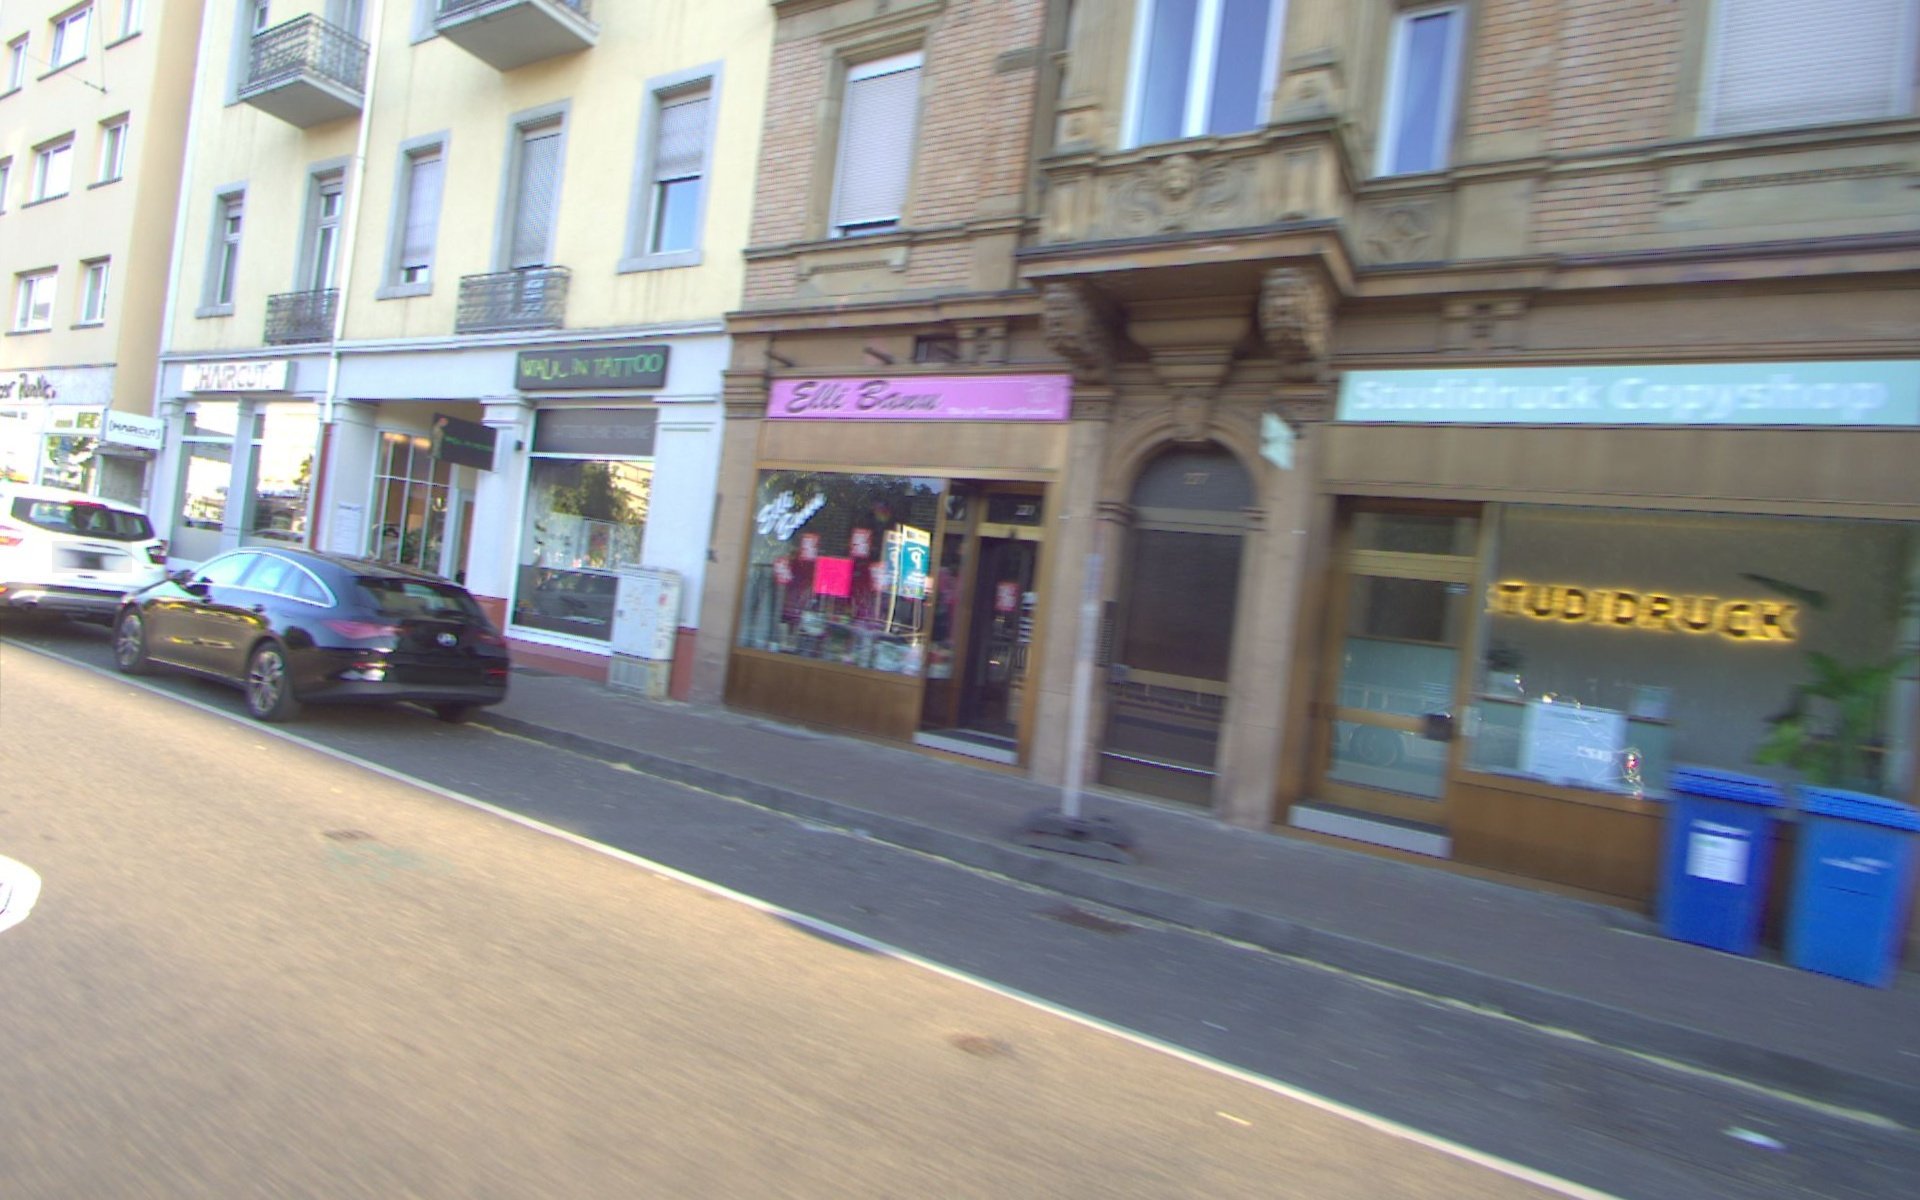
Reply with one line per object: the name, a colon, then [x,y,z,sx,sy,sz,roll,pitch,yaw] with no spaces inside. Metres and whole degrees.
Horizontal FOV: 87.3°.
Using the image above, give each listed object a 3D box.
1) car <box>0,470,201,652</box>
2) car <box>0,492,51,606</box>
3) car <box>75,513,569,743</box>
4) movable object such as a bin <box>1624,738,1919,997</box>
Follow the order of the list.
car: [-11.428,-0.639,12.185,4.581,1.766,1.885,8,0,31]
car: [-16.143,-1.068,15.369,4.788,1.561,2.019,8,0,32]
car: [-6.184,0.198,9.595,4.770,1.451,1.997,7,-2,32]
movable object such as a bin: [5.118,1.598,6.351,1.375,1.201,0.867,7,0,31]
